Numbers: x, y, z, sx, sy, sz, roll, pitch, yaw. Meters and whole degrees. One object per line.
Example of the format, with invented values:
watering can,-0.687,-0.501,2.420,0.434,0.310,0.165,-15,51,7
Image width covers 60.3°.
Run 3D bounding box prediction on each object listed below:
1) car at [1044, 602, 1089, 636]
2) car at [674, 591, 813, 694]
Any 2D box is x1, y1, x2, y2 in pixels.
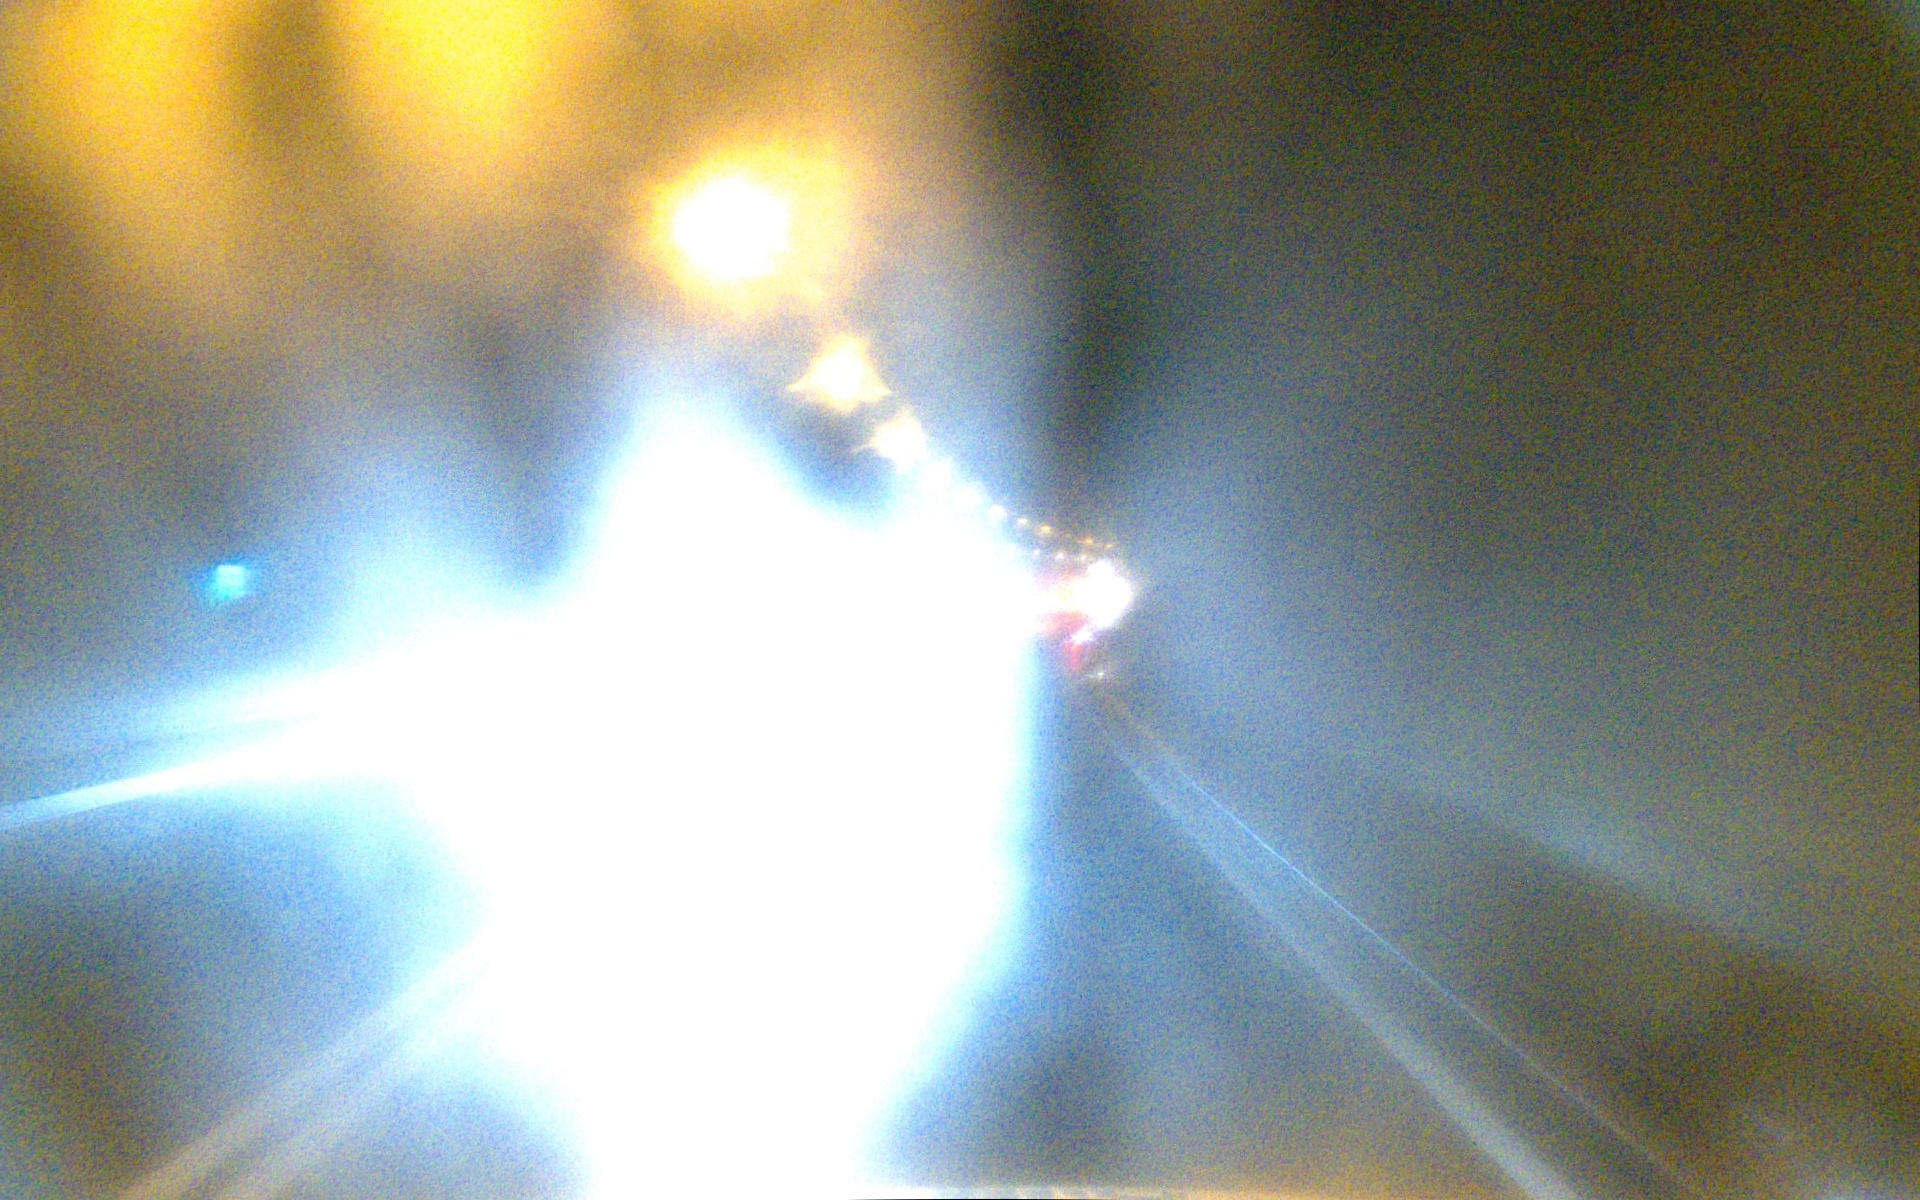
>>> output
car,5.596,0.995,86.629,1.951,1.679,4.003,1,0,9
car,-3.269,0.599,25.607,1.596,1.422,4.000,1,0,0
